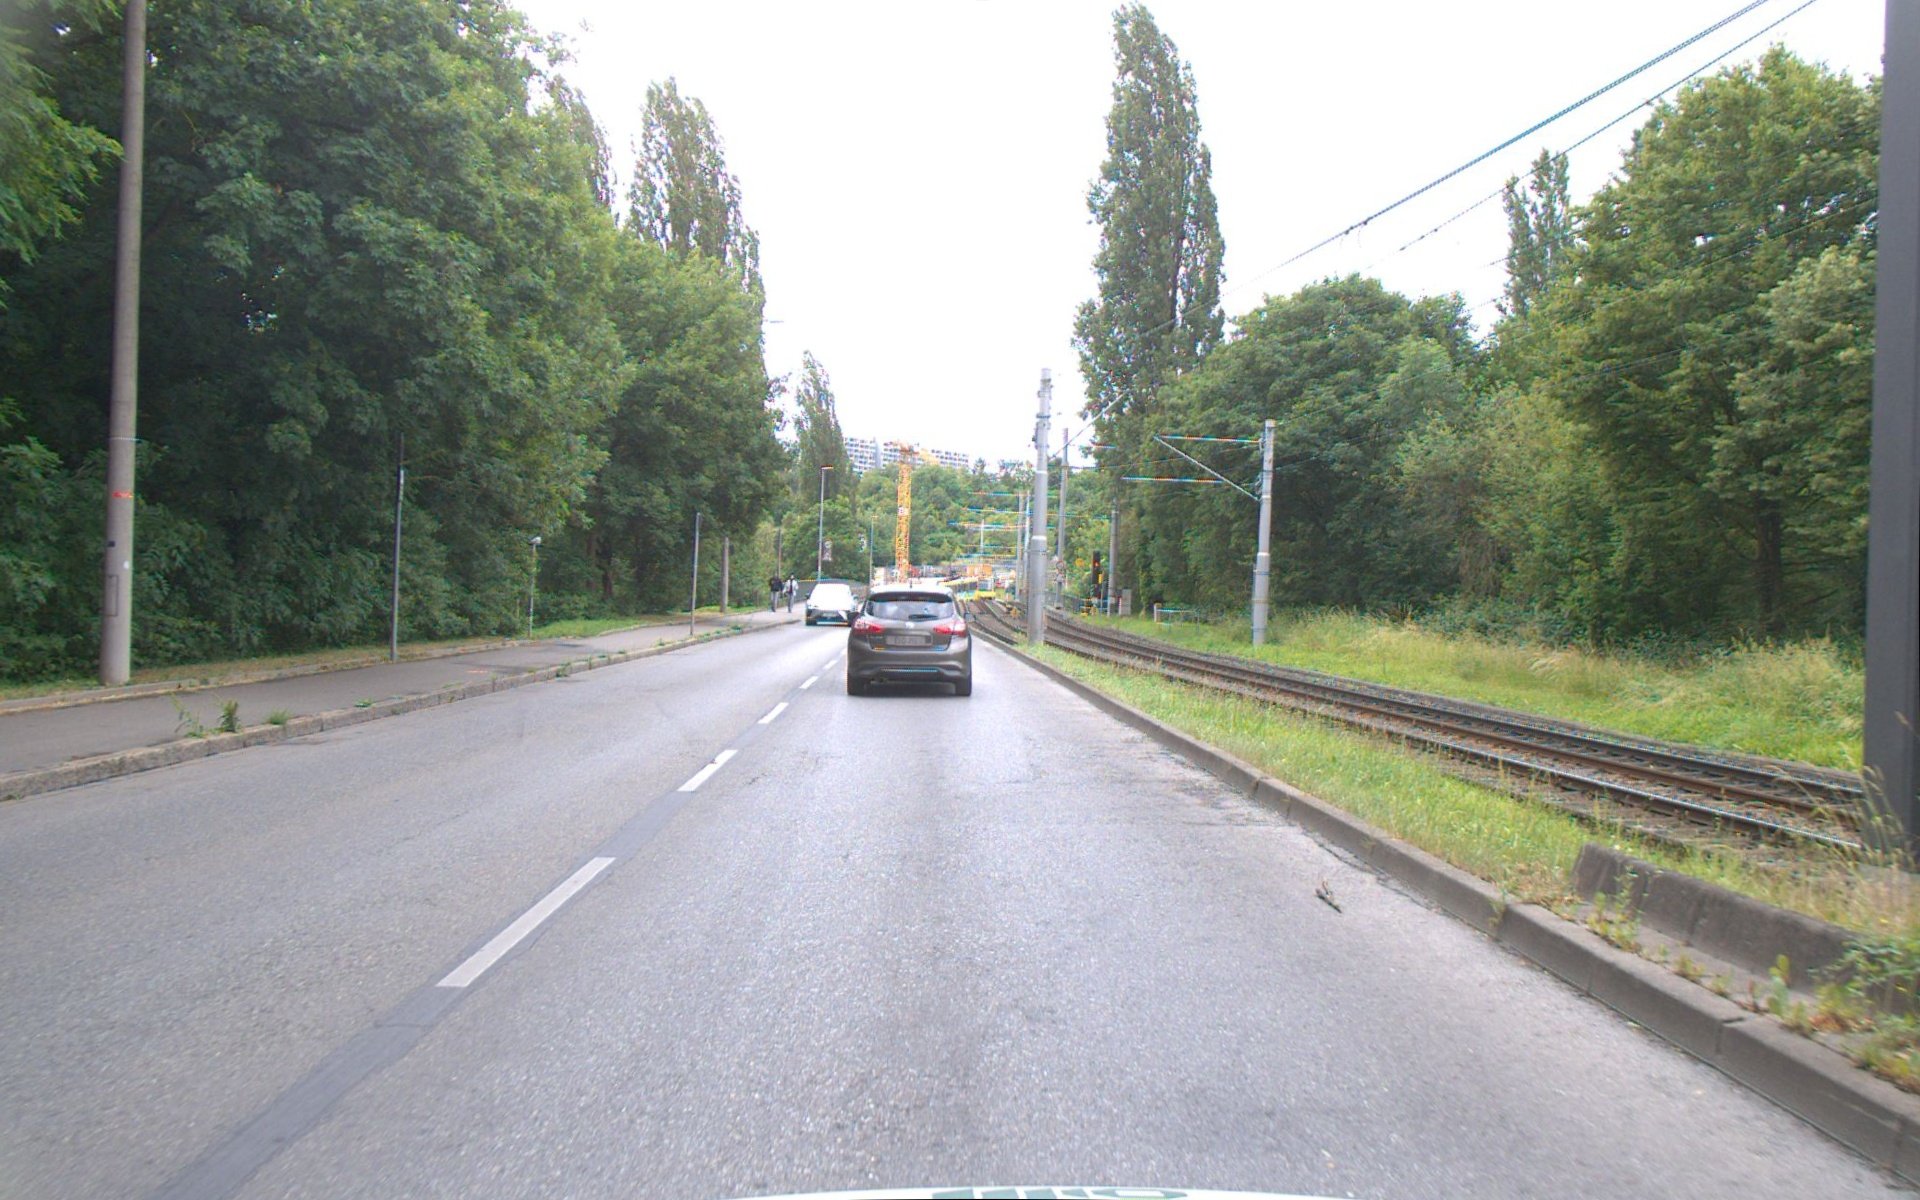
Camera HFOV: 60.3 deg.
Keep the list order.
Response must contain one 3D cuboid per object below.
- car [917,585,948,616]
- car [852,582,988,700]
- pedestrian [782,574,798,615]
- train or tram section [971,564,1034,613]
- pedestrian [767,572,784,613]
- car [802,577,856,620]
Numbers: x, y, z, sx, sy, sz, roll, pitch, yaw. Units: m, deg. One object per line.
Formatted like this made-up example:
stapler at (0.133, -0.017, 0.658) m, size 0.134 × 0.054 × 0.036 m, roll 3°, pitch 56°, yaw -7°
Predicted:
car at (-1.548, 0.007, 92.684) m, size 1.646 × 1.634 × 4.309 m, roll 2°, pitch 1°, yaw -1°
car at (-0.660, 0.527, 24.171) m, size 1.793 × 1.536 × 3.997 m, roll 1°, pitch 1°, yaw -4°
pedestrian at (-7.742, -0.266, 75.376) m, size 0.540 × 1.795 × 0.858 m, roll 5°, pitch 0°, yaw -2°
train or tram section at (4.974, -1.223, 201.084) m, size 2.973 × 5.273 × 22.999 m, roll 3°, pitch -1°, yaw -10°
pedestrian at (-8.388, -0.362, 75.274) m, size 0.575 × 1.834 × 0.822 m, roll 3°, pitch 0°, yaw -2°
car at (-4.851, -0.084, 61.650) m, size 1.758 × 1.518 × 4.179 m, roll 0°, pitch 1°, yaw -1°
